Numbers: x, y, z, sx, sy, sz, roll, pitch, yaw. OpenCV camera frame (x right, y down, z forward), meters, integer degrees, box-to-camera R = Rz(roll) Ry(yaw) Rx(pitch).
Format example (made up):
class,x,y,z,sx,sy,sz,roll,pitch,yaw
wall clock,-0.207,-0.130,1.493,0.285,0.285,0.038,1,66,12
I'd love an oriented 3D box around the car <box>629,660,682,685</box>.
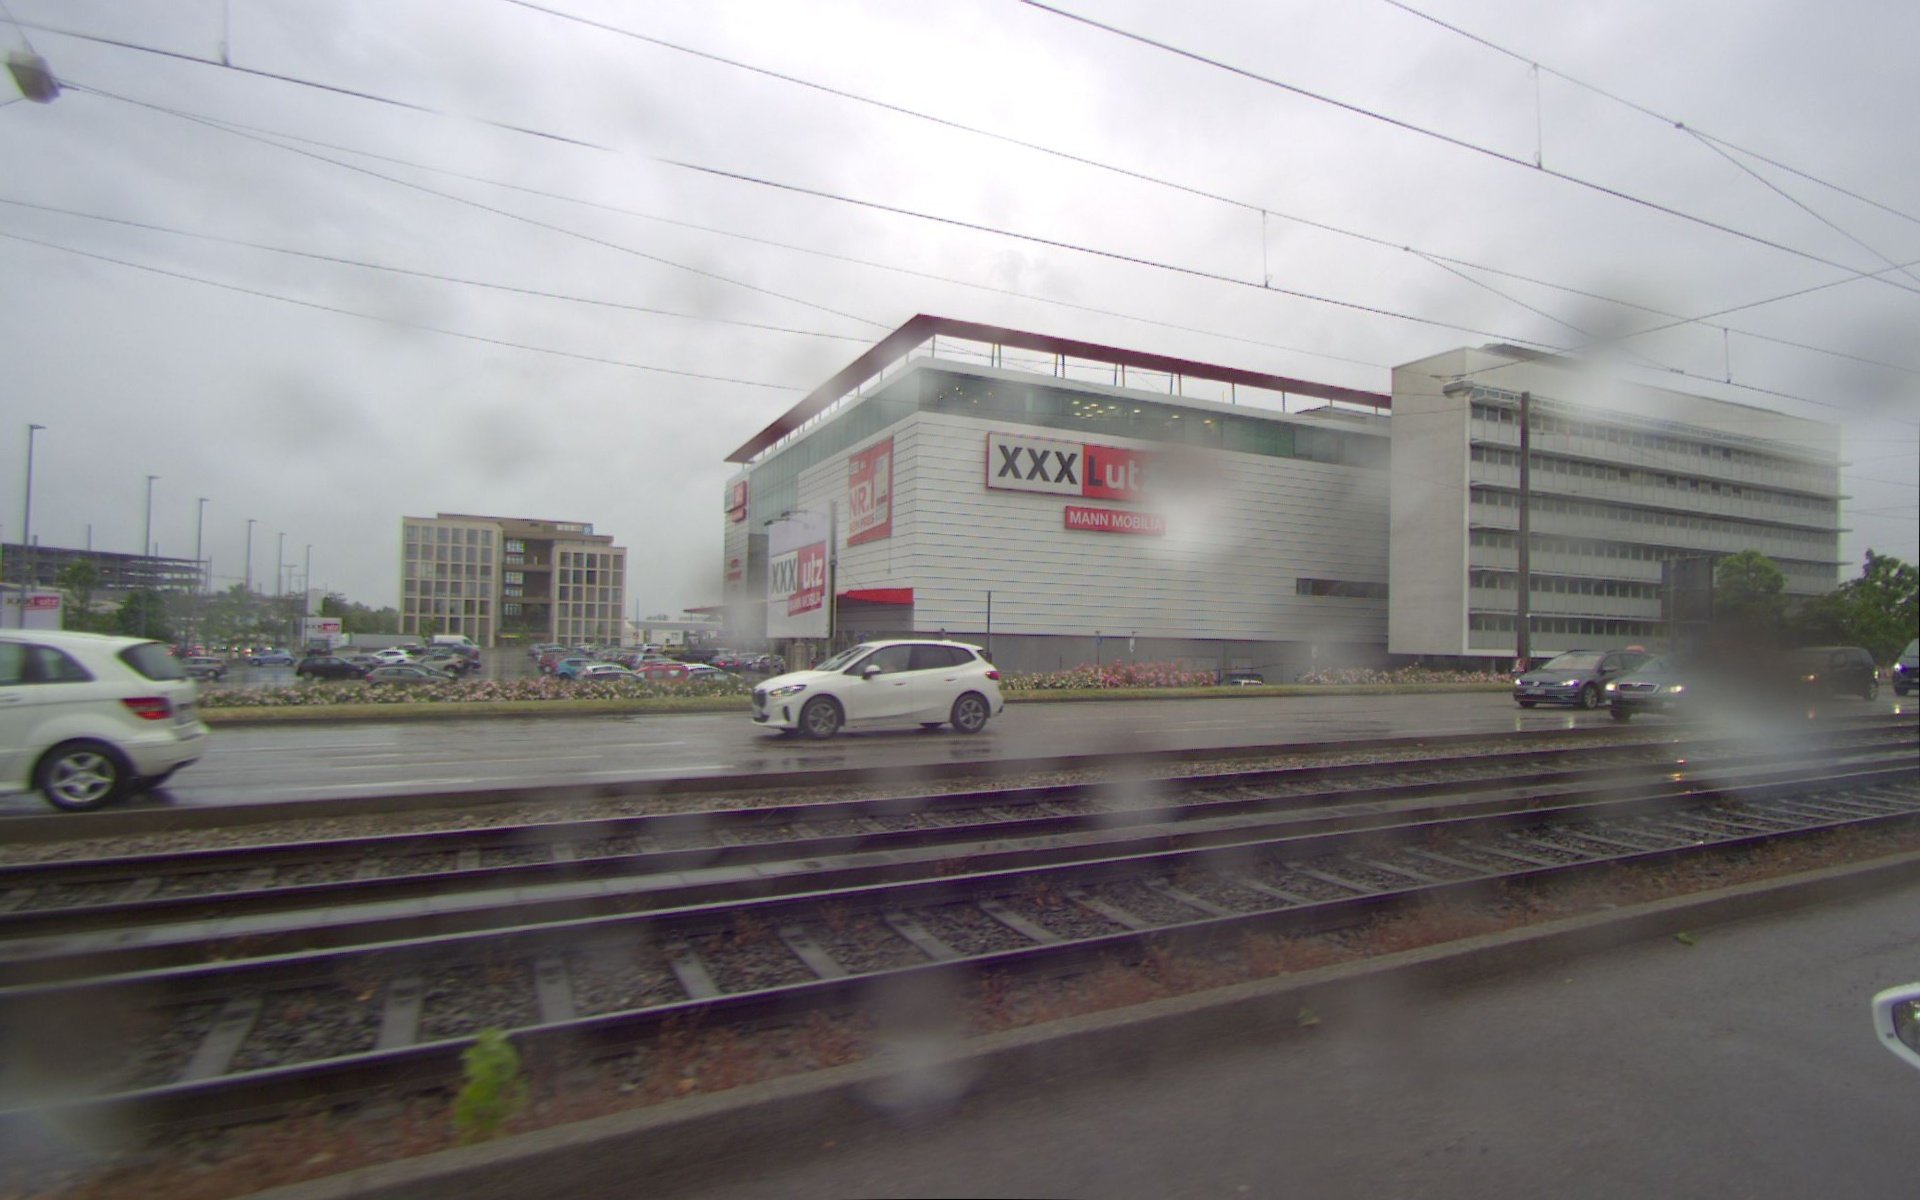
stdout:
class,x,y,z,sx,sy,sz,roll,pitch,yaw
car,-20.552,4.875,67.750,3.132,1.544,1.560,2,-1,-30

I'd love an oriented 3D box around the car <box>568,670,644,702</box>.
class,x,y,z,sx,sy,sz,roll,pitch,yaw
car,-15.521,3.743,44.032,2.904,1.270,1.347,2,-1,-30

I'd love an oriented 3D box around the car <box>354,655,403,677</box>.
class,x,y,z,sx,sy,sz,roll,pitch,yaw
car,-43.771,4.945,75.673,3.132,1.544,1.560,2,-1,-30

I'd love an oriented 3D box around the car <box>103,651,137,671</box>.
class,x,y,z,sx,sy,sz,roll,pitch,yaw
car,-95.969,6.906,114.817,1.973,2.040,3.975,2,-1,-25

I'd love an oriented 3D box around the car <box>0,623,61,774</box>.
class,x,y,z,sx,sy,sz,roll,pitch,yaw
car,-13.409,1.104,11.127,4.781,1.628,1.900,1,1,-28

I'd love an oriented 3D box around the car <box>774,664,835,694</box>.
class,x,y,z,sx,sy,sz,roll,pitch,yaw
car,-11.450,5.821,74.016,3.952,2.040,1.984,2,-1,-30

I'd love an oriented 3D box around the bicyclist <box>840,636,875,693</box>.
class,x,y,z,sx,sy,sz,roll,pitch,yaw
bicyclist,-2.990,1.882,29.301,0.781,1.610,0.669,2,0,-27

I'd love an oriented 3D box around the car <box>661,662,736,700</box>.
class,x,y,z,sx,sy,sz,roll,pitch,yaw
car,-15.546,4.794,59.759,3.953,2.040,1.984,2,0,-30

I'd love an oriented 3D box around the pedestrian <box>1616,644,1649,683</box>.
class,x,y,z,sx,sy,sz,roll,pitch,yaw
pedestrian,31.861,3.015,47.594,1.036,1.786,0.820,2,1,-25

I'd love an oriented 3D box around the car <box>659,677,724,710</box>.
class,x,y,z,sx,sy,sz,roll,pitch,yaw
car,-12.918,4.488,48.351,2.738,1.422,1.341,2,-1,-30

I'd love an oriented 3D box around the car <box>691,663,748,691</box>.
class,x,y,z,sx,sy,sz,roll,pitch,yaw
car,-18.936,6.046,78.996,3.953,2.040,1.984,2,-1,-30

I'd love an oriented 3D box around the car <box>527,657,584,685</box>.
class,x,y,z,sx,sy,sz,roll,pitch,yaw
car,-32.463,5.674,80.639,3.953,2.040,1.984,2,0,-30

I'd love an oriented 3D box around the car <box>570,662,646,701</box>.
class,x,y,z,sx,sy,sz,roll,pitch,yaw
car,-20.773,4.761,59.260,3.953,2.040,1.984,2,0,-30

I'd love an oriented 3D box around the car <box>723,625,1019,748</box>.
class,x,y,z,sx,sy,sz,roll,pitch,yaw
car,-1.496,1.410,17.145,4.631,1.858,1.987,2,-2,-26

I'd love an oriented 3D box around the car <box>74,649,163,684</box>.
class,x,y,z,sx,sy,sz,roll,pitch,yaw
car,-53.479,4.231,63.935,3.953,2.040,1.984,2,-1,-30

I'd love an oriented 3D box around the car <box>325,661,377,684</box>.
class,x,y,z,sx,sy,sz,roll,pitch,yaw
car,-43.659,5.183,72.095,3.132,1.544,1.560,2,-1,-30

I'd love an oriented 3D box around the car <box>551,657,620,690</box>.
class,x,y,z,sx,sy,sz,roll,pitch,yaw
car,-24.666,4.812,66.184,3.953,2.040,1.984,2,0,-30

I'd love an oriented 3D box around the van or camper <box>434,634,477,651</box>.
class,x,y,z,sx,sy,sz,roll,pitch,yaw
van or camper,-67.057,5.647,133.558,4.938,2.141,1.771,2,-1,-33

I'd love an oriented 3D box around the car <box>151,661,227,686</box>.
class,x,y,z,sx,sy,sz,roll,pitch,yaw
car,-53.511,5.088,69.801,3.998,1.544,1.702,2,-1,-32

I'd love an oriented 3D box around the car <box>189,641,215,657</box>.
class,x,y,z,sx,sy,sz,roll,pitch,yaw
car,-106.643,6.931,141.360,1.973,2.040,3.975,2,-1,-25

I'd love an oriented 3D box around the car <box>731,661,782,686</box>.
class,x,y,z,sx,sy,sz,roll,pitch,yaw
car,-18.005,6.488,88.892,3.953,2.040,1.984,2,-1,-30

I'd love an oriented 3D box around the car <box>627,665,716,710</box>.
class,x,y,z,sx,sy,sz,roll,pitch,yaw
car,-14.700,4.429,51.214,3.953,2.040,1.984,2,0,-30

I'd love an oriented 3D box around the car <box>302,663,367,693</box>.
class,x,y,z,sx,sy,sz,roll,pitch,yaw
car,-43.540,5.400,70.001,3.790,1.930,1.808,2,-1,-32

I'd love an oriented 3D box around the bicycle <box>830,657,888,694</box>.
class,x,y,z,sx,sy,sz,roll,pitch,yaw
bicycle,-2.945,2.193,29.328,1.536,1.029,0.666,2,0,-28

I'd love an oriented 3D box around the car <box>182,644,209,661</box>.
class,x,y,z,sx,sy,sz,roll,pitch,yaw
car,-103.393,7.066,135.913,1.973,2.040,3.975,2,-1,-25

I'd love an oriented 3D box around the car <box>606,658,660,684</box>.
class,x,y,z,sx,sy,sz,roll,pitch,yaw
car,-27.779,6.004,85.350,3.953,2.040,1.984,2,-1,-30

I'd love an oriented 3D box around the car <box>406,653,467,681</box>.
class,x,y,z,sx,sy,sz,roll,pitch,yaw
car,-38.931,4.975,74.682,3.862,1.930,1.808,2,-1,-32

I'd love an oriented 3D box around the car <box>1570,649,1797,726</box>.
class,x,y,z,sx,sy,sz,roll,pitch,yaw
car,15.262,1.810,21.165,4.612,1.475,1.987,2,-4,-27

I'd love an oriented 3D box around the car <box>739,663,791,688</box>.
class,x,y,z,sx,sy,sz,roll,pitch,yaw
car,-16.879,6.502,87.029,3.953,2.040,1.984,2,-1,-30

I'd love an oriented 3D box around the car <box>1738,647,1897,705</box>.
class,x,y,z,sx,sy,sz,roll,pitch,yaw
car,26.008,2.287,30.436,4.842,1.639,1.853,2,-3,-26

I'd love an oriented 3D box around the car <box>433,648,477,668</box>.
class,x,y,z,sx,sy,sz,roll,pitch,yaw
car,-41.812,4.827,83.100,3.132,1.544,1.560,2,-1,-30

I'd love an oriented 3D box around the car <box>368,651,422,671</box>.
class,x,y,z,sx,sy,sz,roll,pitch,yaw
car,-48.691,5.290,86.672,3.956,1.582,1.752,2,-1,-27

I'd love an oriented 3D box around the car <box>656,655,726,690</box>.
class,x,y,z,sx,sy,sz,roll,pitch,yaw
car,-17.103,4.596,63.870,3.952,2.040,1.984,2,-1,-30

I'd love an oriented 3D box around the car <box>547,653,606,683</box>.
class,x,y,z,sx,sy,sz,roll,pitch,yaw
car,-29.189,5.150,76.460,3.953,2.040,1.984,2,0,-30

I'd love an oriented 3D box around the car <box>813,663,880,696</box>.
class,x,y,z,sx,sy,sz,roll,pitch,yaw
car,-7.598,5.282,67.114,3.953,2.040,1.984,2,-1,-30

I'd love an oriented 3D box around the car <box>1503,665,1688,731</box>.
class,x,y,z,sx,sy,sz,roll,pitch,yaw
car,16.143,2.431,25.504,4.496,1.536,1.957,2,-4,-27

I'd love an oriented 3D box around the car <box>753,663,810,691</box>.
class,x,y,z,sx,sy,sz,roll,pitch,yaw
car,-13.969,6.008,78.504,3.953,2.040,1.984,2,-1,-30

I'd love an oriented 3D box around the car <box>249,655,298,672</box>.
class,x,y,z,sx,sy,sz,roll,pitch,yaw
car,-65.117,6.038,95.280,3.517,1.425,1.776,2,-1,-24

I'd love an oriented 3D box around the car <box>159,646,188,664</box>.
class,x,y,z,sx,sy,sz,roll,pitch,yaw
car,-101.333,7.053,129.477,1.973,2.040,3.975,2,-1,-25

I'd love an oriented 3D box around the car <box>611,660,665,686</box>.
class,x,y,z,sx,sy,sz,roll,pitch,yaw
car,-26.763,6.037,83.522,3.953,2.040,1.984,2,-1,-30

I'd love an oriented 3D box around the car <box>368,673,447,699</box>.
class,x,y,z,sx,sy,sz,roll,pitch,yaw
car,-29.974,4.638,54.515,3.681,1.281,1.540,2,-1,-30

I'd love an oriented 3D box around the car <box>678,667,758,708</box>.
class,x,y,z,sx,sy,sz,roll,pitch,yaw
car,-13.612,4.860,56.417,3.953,2.040,1.984,2,0,-30

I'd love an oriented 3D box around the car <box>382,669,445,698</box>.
class,x,y,z,sx,sy,sz,roll,pitch,yaw
car,-32.110,4.901,59.044,3.132,1.544,1.560,2,-1,-30

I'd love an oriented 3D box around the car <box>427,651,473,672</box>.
class,x,y,z,sx,sy,sz,roll,pitch,yaw
car,-40.026,4.832,78.847,3.132,1.544,1.560,2,-1,-30

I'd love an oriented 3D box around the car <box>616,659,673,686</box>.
class,x,y,z,sx,sy,sz,roll,pitch,yaw
car,-25.110,5.752,79.829,3.953,2.040,1.984,2,-1,-30

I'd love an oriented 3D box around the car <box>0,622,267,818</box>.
class,x,y,z,sx,sy,sz,roll,pitch,yaw
car,-8.983,1.022,9.020,4.270,1.595,1.867,0,0,-26

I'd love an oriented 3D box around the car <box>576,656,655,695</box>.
class,x,y,z,sx,sy,sz,roll,pitch,yaw
car,-19.655,4.255,57.289,3.953,2.040,1.984,2,0,-30

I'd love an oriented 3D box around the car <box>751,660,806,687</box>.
class,x,y,z,sx,sy,sz,roll,pitch,yaw
car,-14.898,6.026,82.408,3.953,2.040,1.984,2,-1,-30

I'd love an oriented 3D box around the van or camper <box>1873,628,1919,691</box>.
class,x,y,z,sx,sy,sz,roll,pitch,yaw
van or camper,34.405,2.090,34.670,5.609,2.040,2.298,2,0,-25
